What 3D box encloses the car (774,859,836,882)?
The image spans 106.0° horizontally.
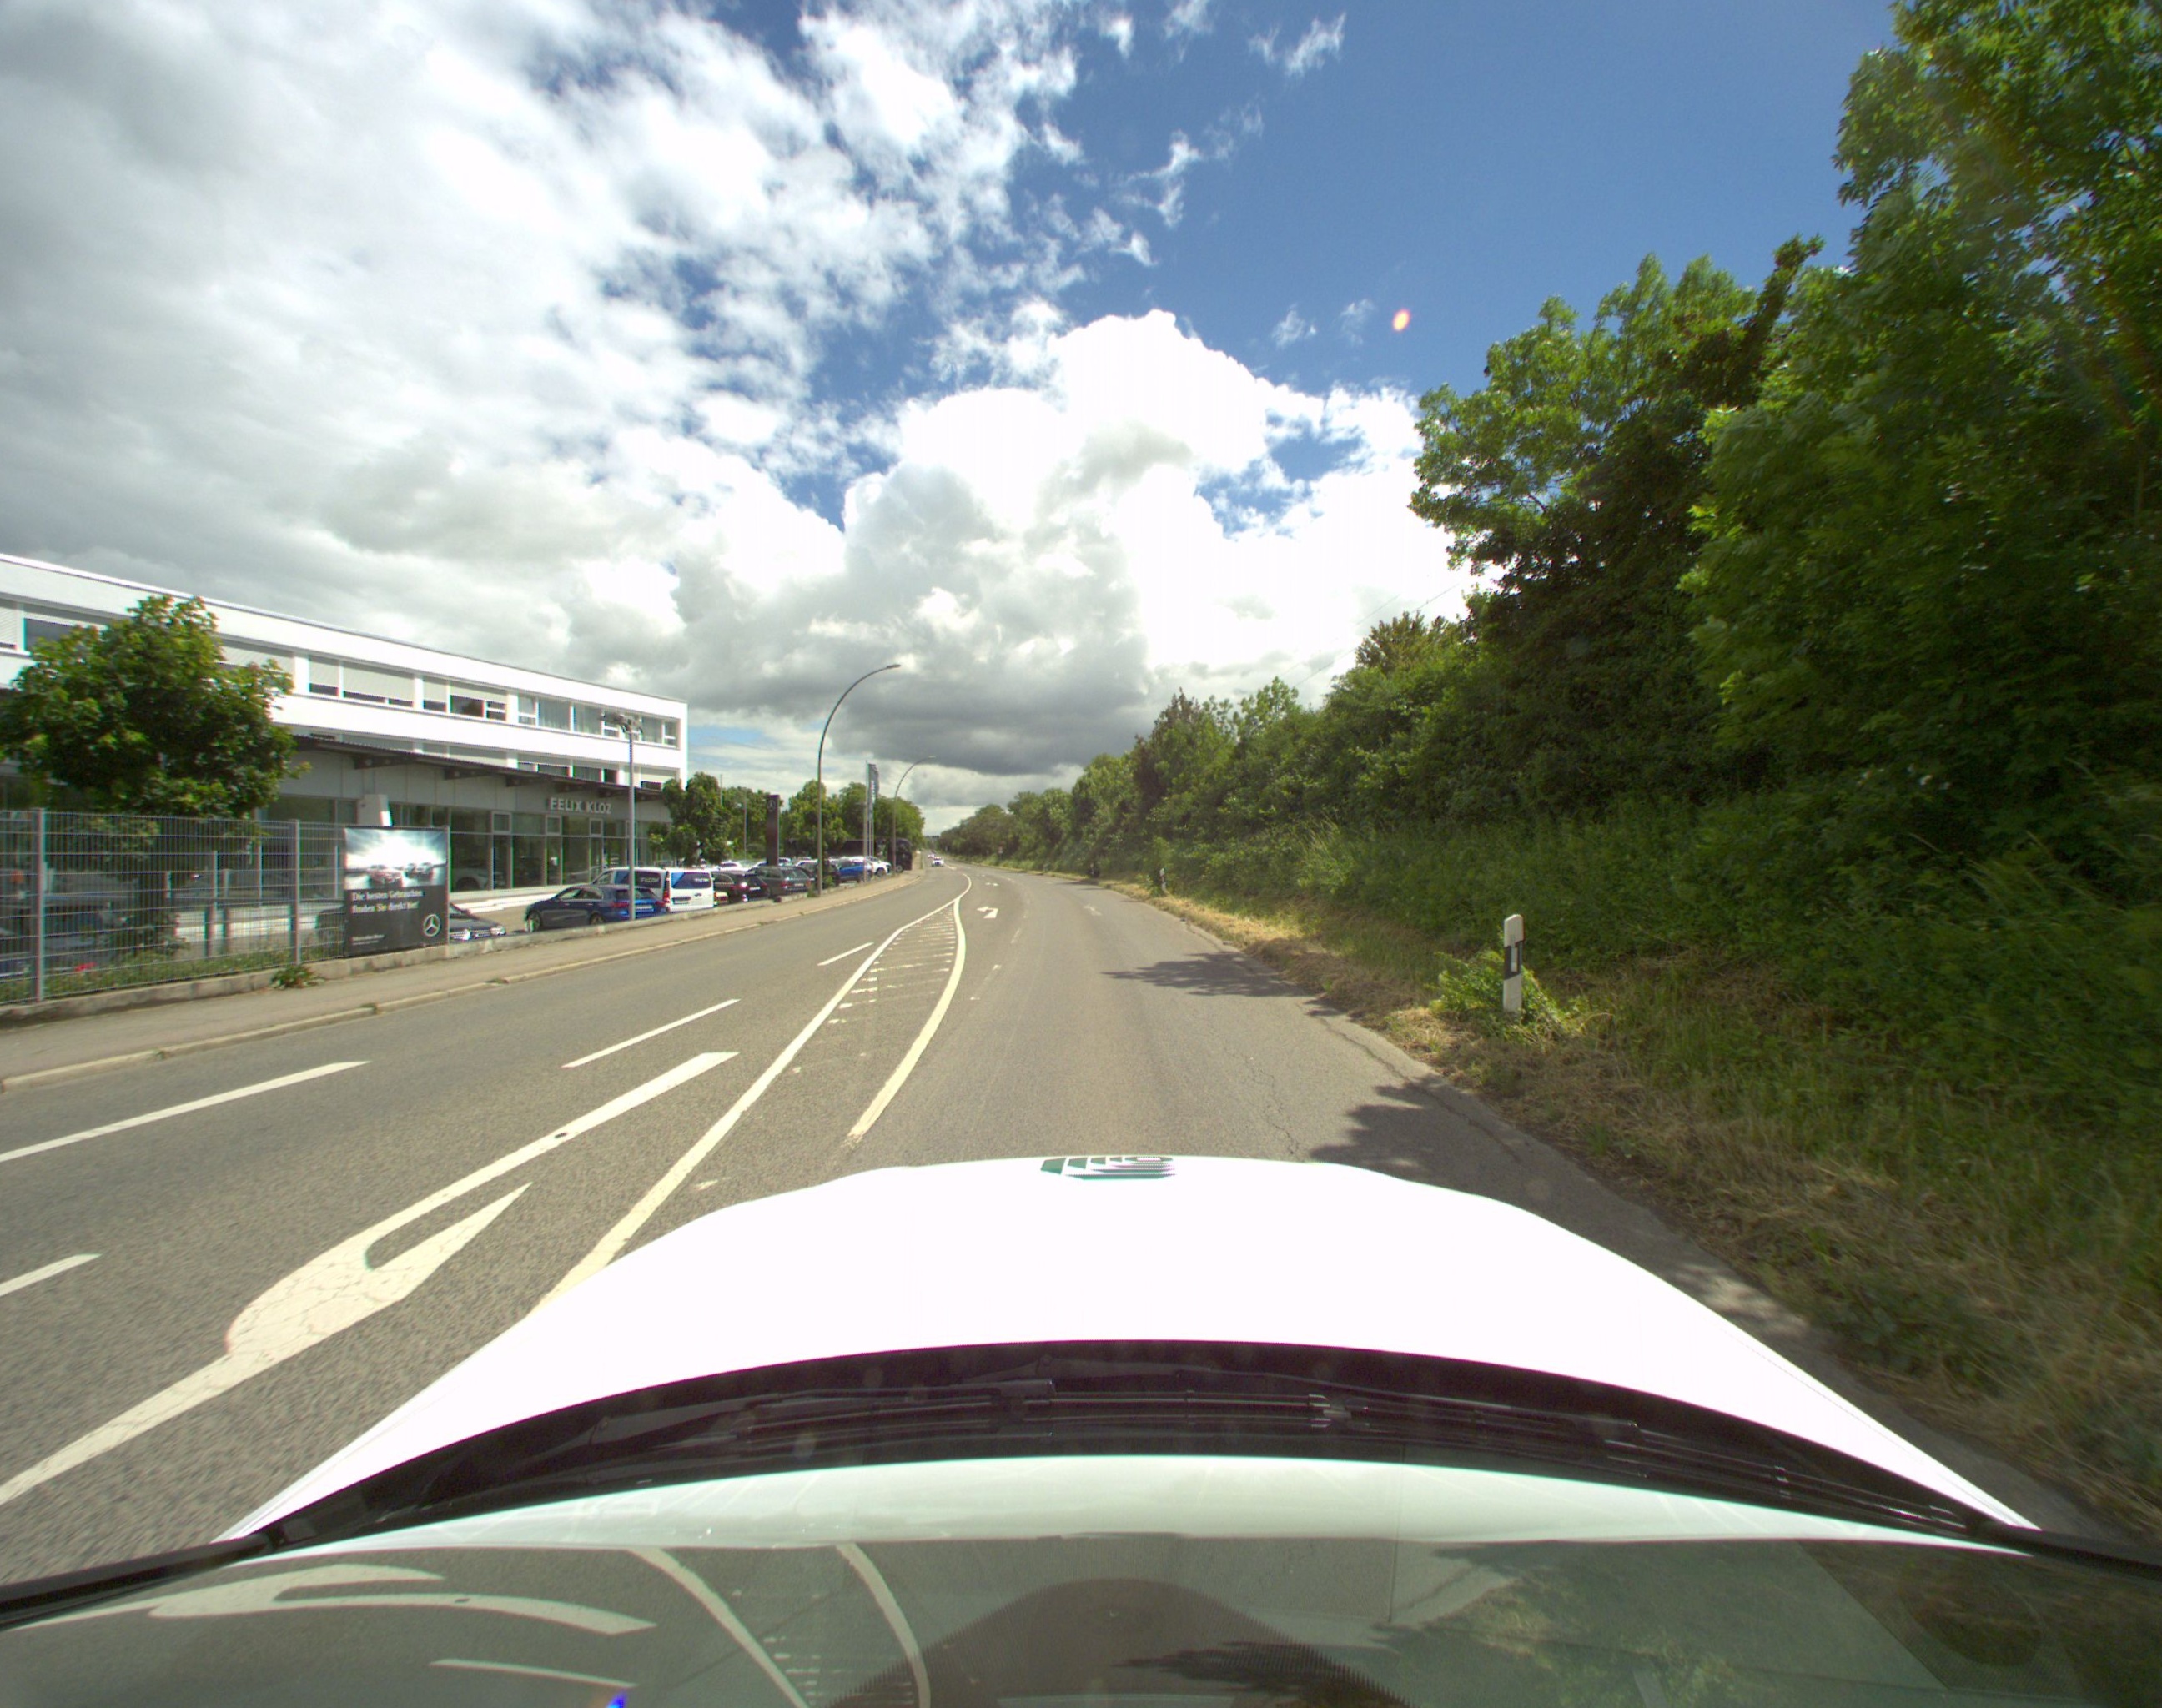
[{"bbox_3d":[-20.362,1.191,60.218,1.975,1.631,4.024,0,0,28],"label":"car"}]

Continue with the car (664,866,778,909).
[{"bbox_3d":[-14.467,1.293,32.687,4.152,1.601,1.993,0,-1,27],"label":"car"}]

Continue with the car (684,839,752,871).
[{"bbox_3d":[-39.836,0.132,89.698,3.184,3.336,8.195,0,0,6],"label":"car"}]

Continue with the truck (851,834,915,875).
[{"bbox_3d":[-21.127,0.011,86.736,6.144,4.093,2.805,-2,0,-22],"label":"truck"}]

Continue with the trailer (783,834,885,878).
[{"bbox_3d":[-25.623,0.145,84.721,9.767,4.093,2.803,-2,0,-24],"label":"trailer"}]

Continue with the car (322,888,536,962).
[{"bbox_3d":[-14.157,1.477,17.693,4.154,1.350,1.841,0,0,22],"label":"car"}]

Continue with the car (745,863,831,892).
[{"bbox_3d":[-14.900,1.188,41.385,4.152,1.401,1.670,0,-1,27],"label":"car"}]

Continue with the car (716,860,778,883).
[{"bbox_3d":[-25.361,1.312,62.009,1.975,1.644,4.024,0,0,28],"label":"car"}]

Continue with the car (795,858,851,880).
[{"bbox_3d":[-20.434,1.159,64.705,1.975,1.653,4.024,0,0,27],"label":"car"}]

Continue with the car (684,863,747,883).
[{"bbox_3d":[-27.956,1.417,62.459,1.975,1.455,4.024,0,0,28],"label":"car"}]

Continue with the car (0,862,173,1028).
[{"bbox_3d":[-13.210,0.952,8.963,4.171,1.701,2.176,0,0,5],"label":"car"}]

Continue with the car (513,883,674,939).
[{"bbox_3d":[-13.712,1.546,22.890,4.152,1.350,1.948,0,-1,27],"label":"car"}]

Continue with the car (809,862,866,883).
[{"bbox_3d":[-17.520,1.297,58.775,1.610,1.475,4.024,0,0,28],"label":"car"}]

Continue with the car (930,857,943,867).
[{"bbox_3d":[-22.996,1.270,129.552,1.994,1.537,3.985,0,0,-11],"label":"car"}]

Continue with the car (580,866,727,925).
[{"bbox_3d":[-13.356,1.222,25.458,3.937,1.701,2.186,0,-1,27],"label":"car"}]

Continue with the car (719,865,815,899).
[{"bbox_3d":[-14.555,1.243,37.729,4.152,1.479,1.806,0,-1,27],"label":"car"}]

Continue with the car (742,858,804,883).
[{"bbox_3d":[-23.028,1.206,60.961,1.975,1.830,4.024,0,0,28],"label":"car"}]

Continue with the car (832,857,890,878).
[{"bbox_3d":[-18.730,1.122,69.291,4.336,1.763,1.977,0,-1,-39],"label":"car"}]
